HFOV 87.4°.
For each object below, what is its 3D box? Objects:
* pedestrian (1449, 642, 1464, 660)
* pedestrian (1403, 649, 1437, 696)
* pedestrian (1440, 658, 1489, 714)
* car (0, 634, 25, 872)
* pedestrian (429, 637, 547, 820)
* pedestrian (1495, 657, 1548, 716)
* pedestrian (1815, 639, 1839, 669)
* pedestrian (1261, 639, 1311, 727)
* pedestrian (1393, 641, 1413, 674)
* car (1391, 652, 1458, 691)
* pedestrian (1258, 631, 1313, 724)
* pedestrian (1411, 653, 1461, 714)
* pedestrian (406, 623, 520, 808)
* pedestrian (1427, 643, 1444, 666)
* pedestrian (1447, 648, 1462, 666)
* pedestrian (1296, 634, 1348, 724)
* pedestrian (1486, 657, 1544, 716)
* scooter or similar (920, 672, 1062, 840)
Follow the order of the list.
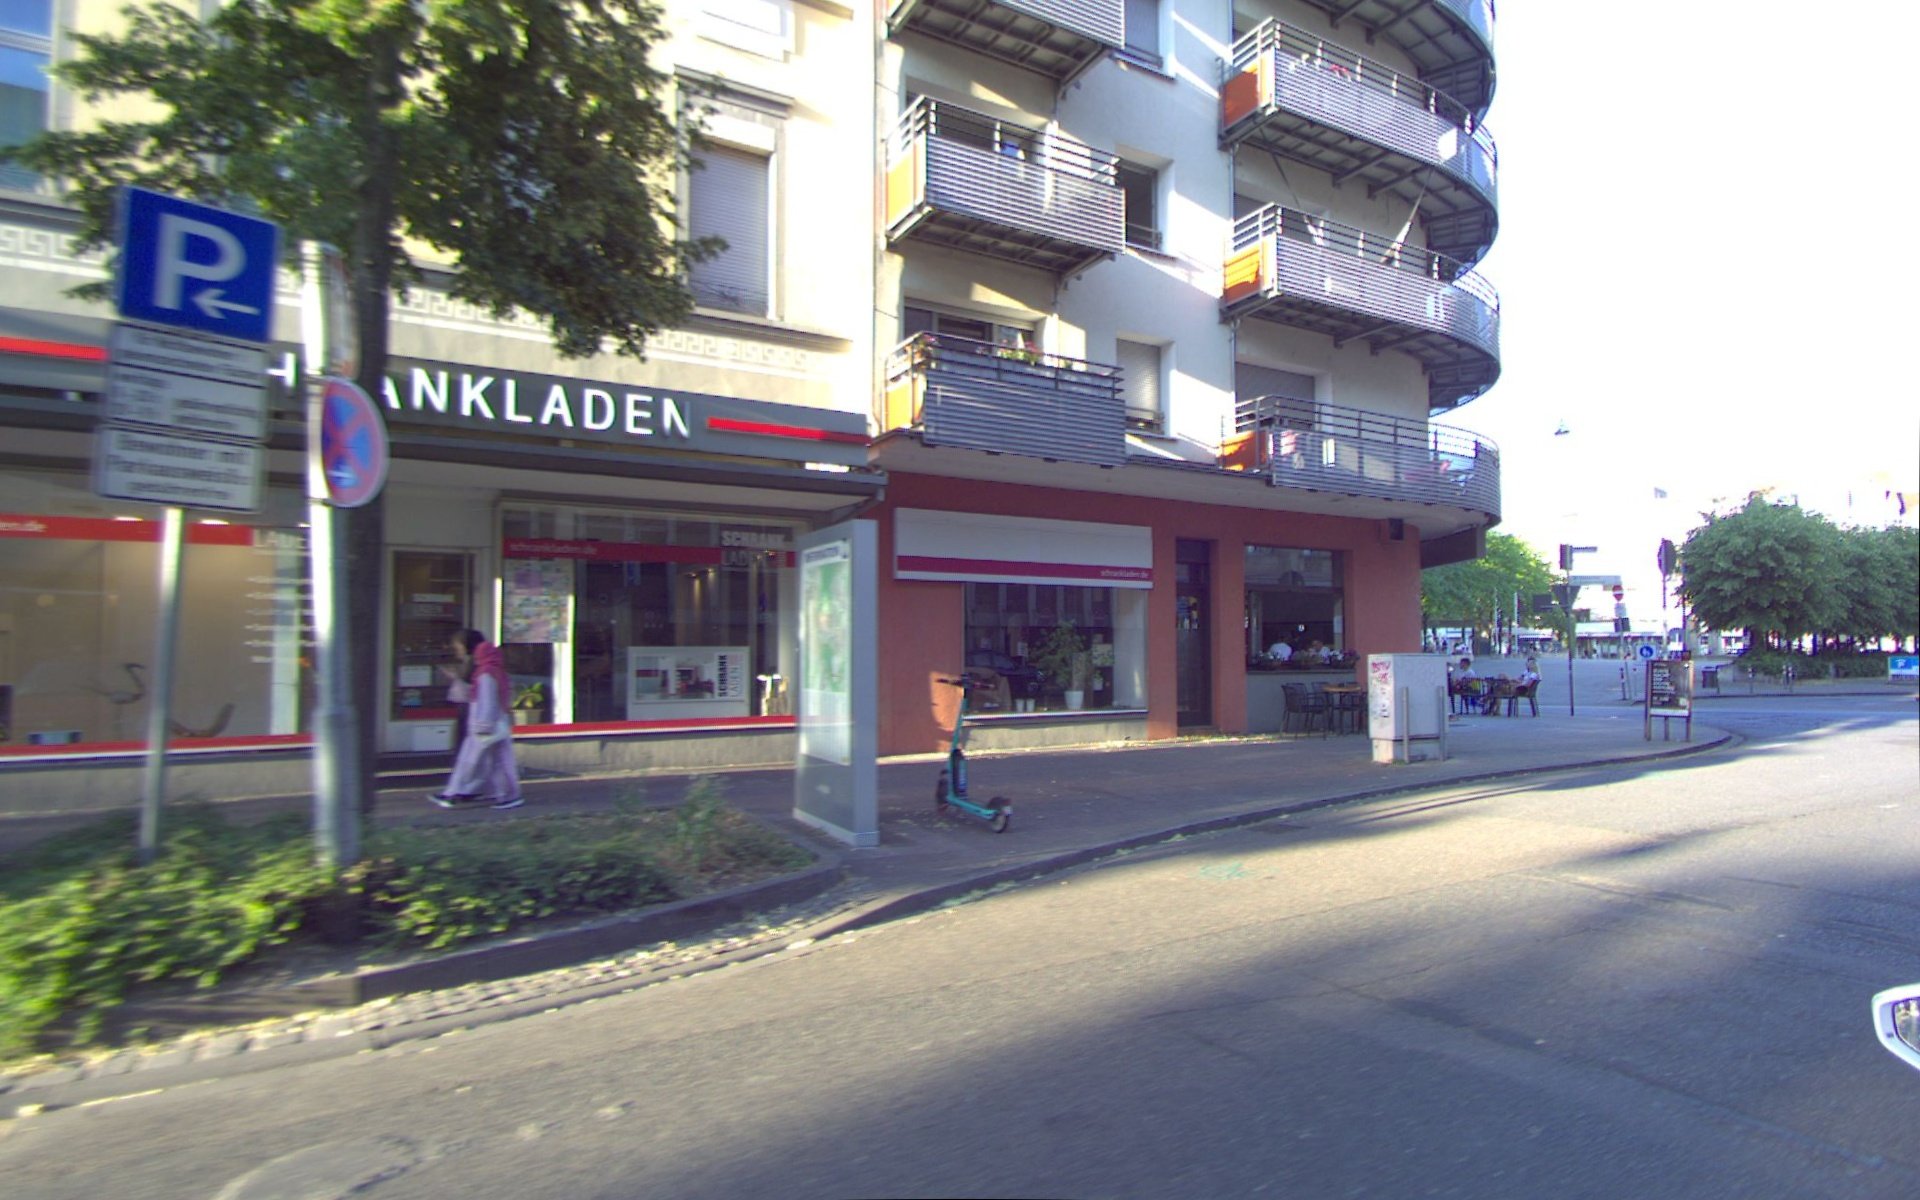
[{"bbox_3d":[30.619,3.143,61.919,0.704,1.134,0.609,-2,-3,35],"label":"pedestrian"},{"bbox_3d":[15.696,2.466,34.259,0.886,1.587,0.765,-2,-3,35],"label":"pedestrian"},{"bbox_3d":[11.809,2.007,23.509,0.821,1.263,0.717,3,-4,-36],"label":"pedestrian"},{"bbox_3d":[-6.303,0.957,4.692,1.861,1.557,4.055,1,-2,-29],"label":"car"},{"bbox_3d":[-4.277,1.126,9.092,0.865,1.548,0.731,3,-2,-29],"label":"pedestrian"},{"bbox_3d":[12.769,1.957,22.857,0.742,1.289,0.820,4,-4,-38],"label":"pedestrian"},{"bbox_3d":[47.003,2.911,54.476,0.558,1.616,0.791,1,-2,-10],"label":"pedestrian"},{"bbox_3d":[6.131,1.547,18.889,0.591,1.615,0.669,3,-4,-29],"label":"pedestrian"},{"bbox_3d":[22.031,2.844,49.921,0.778,1.607,0.652,-2,-4,36],"label":"pedestrian"},{"bbox_3d":[17.768,2.688,38.322,1.964,1.335,4.521,-2,-3,29],"label":"car"},{"bbox_3d":[5.820,1.377,17.976,0.741,1.615,0.594,3,-4,-28],"label":"pedestrian"},{"bbox_3d":[10.857,1.894,22.917,0.821,1.365,0.741,3,-4,-36],"label":"pedestrian"},{"bbox_3d":[-4.670,1.048,9.431,0.865,1.629,0.768,3,-2,-29],"label":"pedestrian"},{"bbox_3d":[26.840,3.072,56.729,0.778,1.296,0.652,-2,-4,36],"label":"pedestrian"},{"bbox_3d":[30.153,3.457,61.237,0.704,1.072,0.609,-2,-3,35],"label":"pedestrian"},{"bbox_3d":[6.666,1.447,18.528,0.693,1.615,0.594,3,-4,-28],"label":"pedestrian"},{"bbox_3d":[12.313,1.912,22.298,0.761,1.258,0.891,4,-4,-38],"label":"pedestrian"},{"bbox_3d":[0.230,1.264,8.530,0.520,1.242,1.390,1,-2,-32],"label":"scooter or similar"}]
